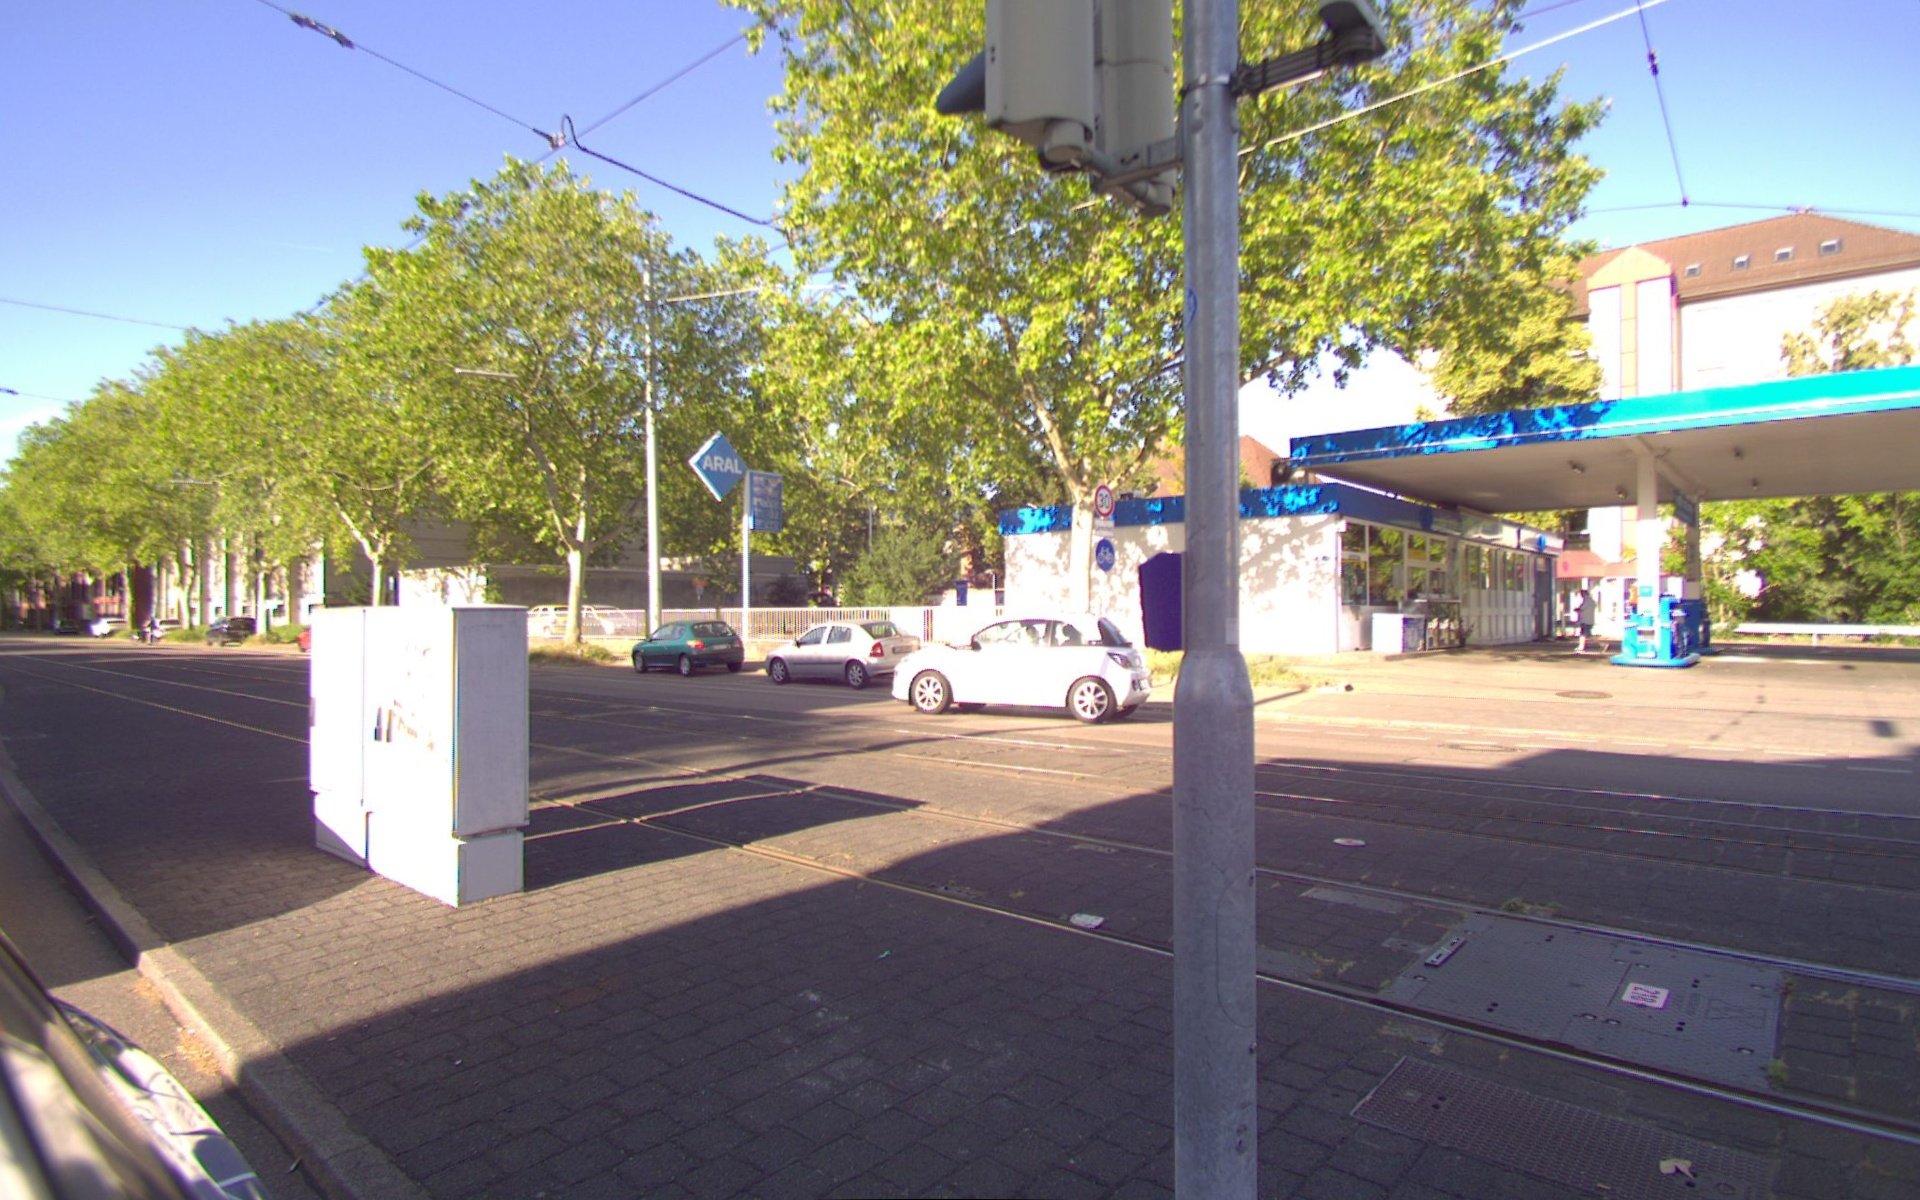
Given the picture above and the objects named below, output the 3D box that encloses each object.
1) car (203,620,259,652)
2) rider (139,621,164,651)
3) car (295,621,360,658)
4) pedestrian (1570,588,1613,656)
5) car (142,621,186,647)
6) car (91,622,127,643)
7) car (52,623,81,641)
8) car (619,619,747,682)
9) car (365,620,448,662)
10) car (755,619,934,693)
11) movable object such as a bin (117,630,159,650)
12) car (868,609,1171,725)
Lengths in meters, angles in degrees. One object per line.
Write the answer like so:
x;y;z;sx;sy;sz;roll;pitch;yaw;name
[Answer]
-40.704;1.986;56.483;3.878;1.603;1.731;-1;2;43;car
-45.608;2.000;57.094;1.100;1.660;0.720;-1;0;25;rider
-28.772;1.761;45.990;3.377;1.506;1.639;-1;2;43;car
16.361;0.574;26.211;0.847;1.715;0.640;-1;-3;40;pedestrian
-53.702;2.294;68.241;3.878;1.552;1.731;-1;2;43;car
-66.789;2.510;79.408;3.731;1.471;1.639;-1;2;43;car
-85.037;3.023;96.328;3.731;1.471;1.639;-1;2;43;car
-7.445;1.300;27.027;3.606;1.455;1.598;-1;2;43;car
-21.861;1.572;39.918;3.769;1.455;1.701;-1;2;43;car
-2.631;1.191;22.594;3.987;1.376;1.666;-2;3;41;car
-46.797;2.261;57.640;1.824;1.111;1.169;-1;0;25;movable object such as a bin
0.843;0.930;14.240;3.910;1.446;1.730;-1;-4;23;car
